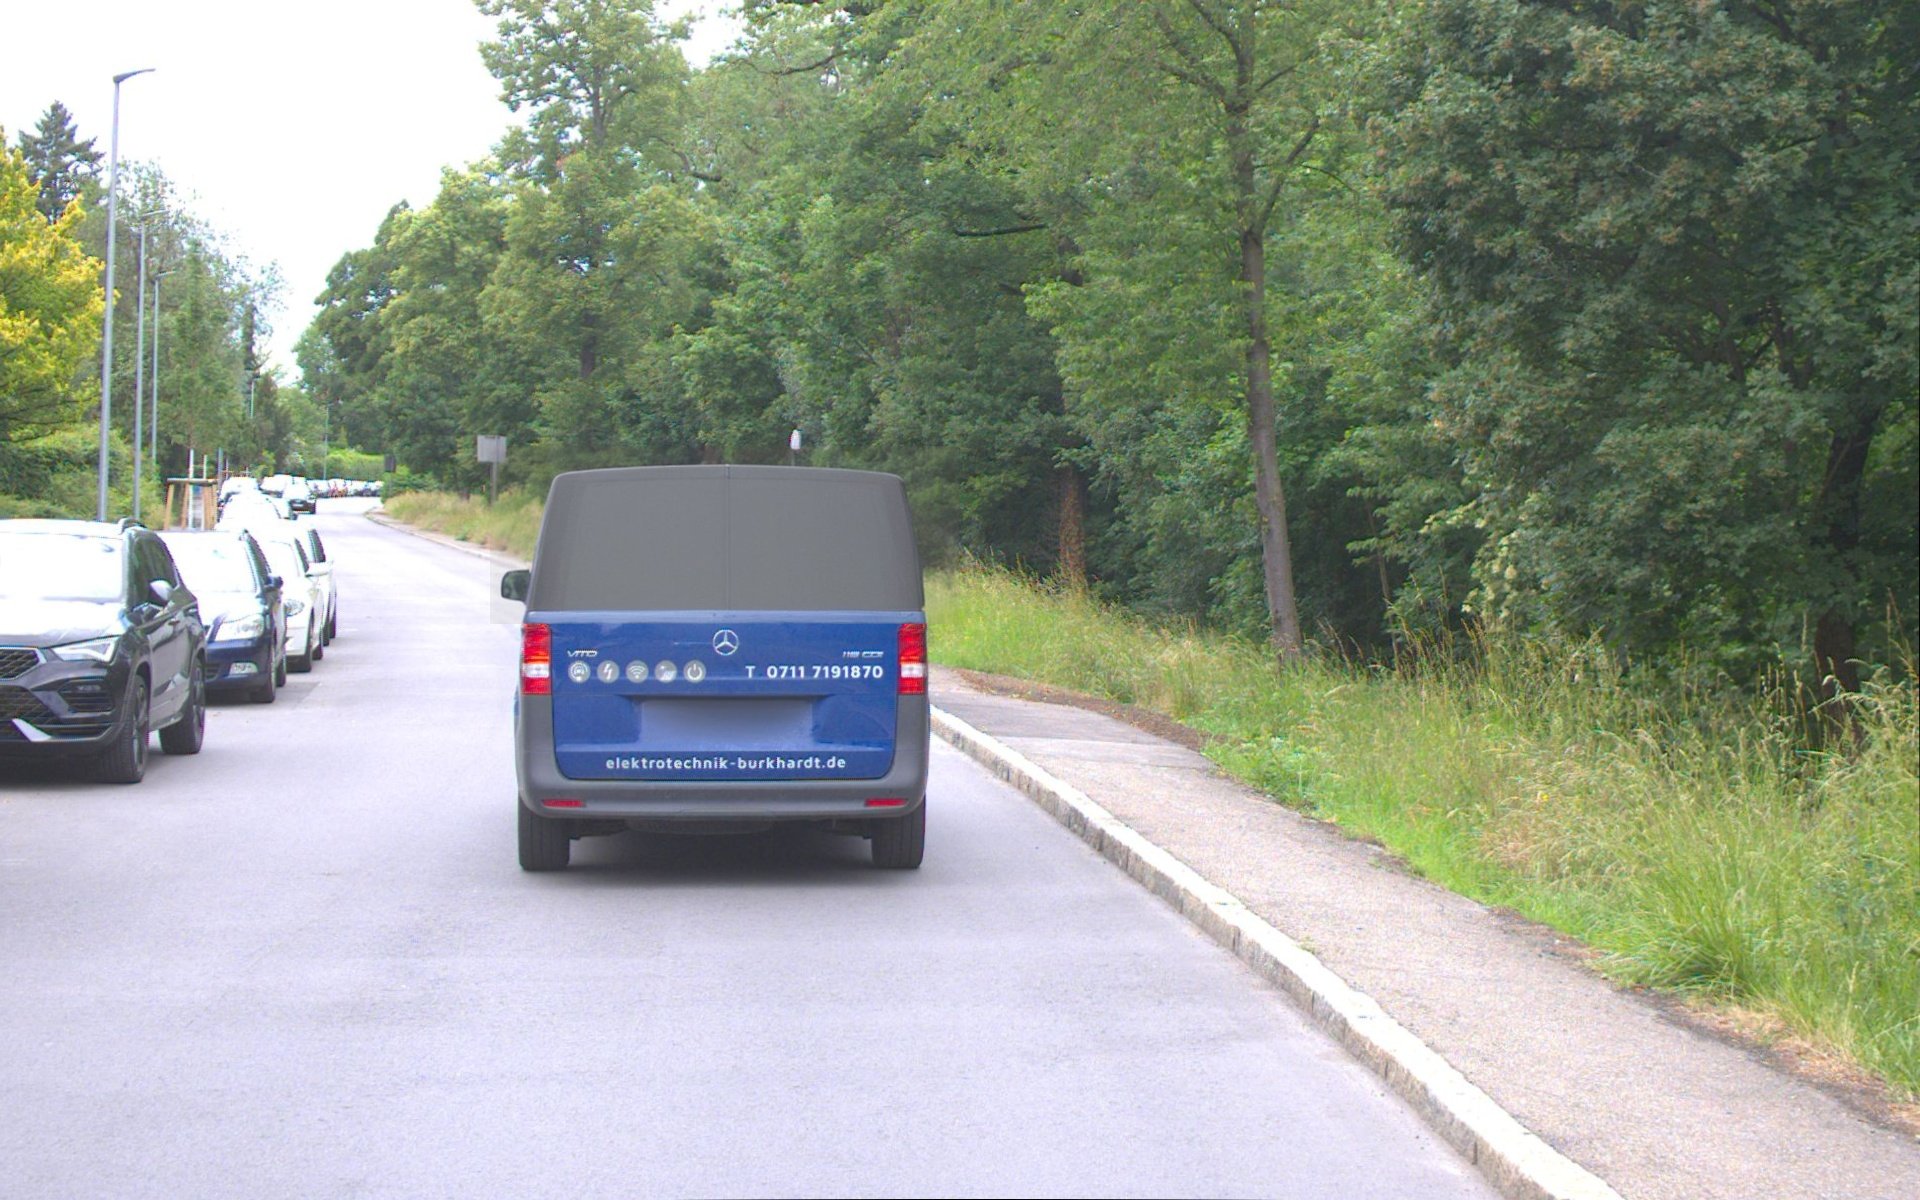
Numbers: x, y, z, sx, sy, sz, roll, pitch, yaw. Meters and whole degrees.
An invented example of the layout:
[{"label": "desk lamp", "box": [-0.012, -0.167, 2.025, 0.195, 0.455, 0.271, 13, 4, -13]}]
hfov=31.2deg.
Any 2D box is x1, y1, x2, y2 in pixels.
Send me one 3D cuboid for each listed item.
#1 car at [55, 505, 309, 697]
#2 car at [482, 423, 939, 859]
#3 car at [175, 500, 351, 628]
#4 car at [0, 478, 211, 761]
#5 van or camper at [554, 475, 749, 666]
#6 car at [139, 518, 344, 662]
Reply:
[{"label": "car", "box": [-6.845, -0.032, 30.565, 1.607, 1.508, 3.857, 3, 1, -5]}, {"label": "car", "box": [-1.255, 0.118, 16.986, 1.913, 1.831, 4.295, 2, 2, -5]}, {"label": "car", "box": [-8.525, -0.462, 42.308, 1.607, 1.403, 3.857, 3, 1, -5]}, {"label": "car", "box": [-6.044, 0.058, 22.017, 1.815, 1.610, 4.224, 3, 0, -5]}, {"label": "van or camper", "box": [-3.656, -0.407, 40.012, 2.019, 1.950, 4.898, 3, 2, -7]}, {"label": "car", "box": [-7.504, -0.143, 36.186, 1.607, 1.338, 3.857, 3, 1, -5]}]
